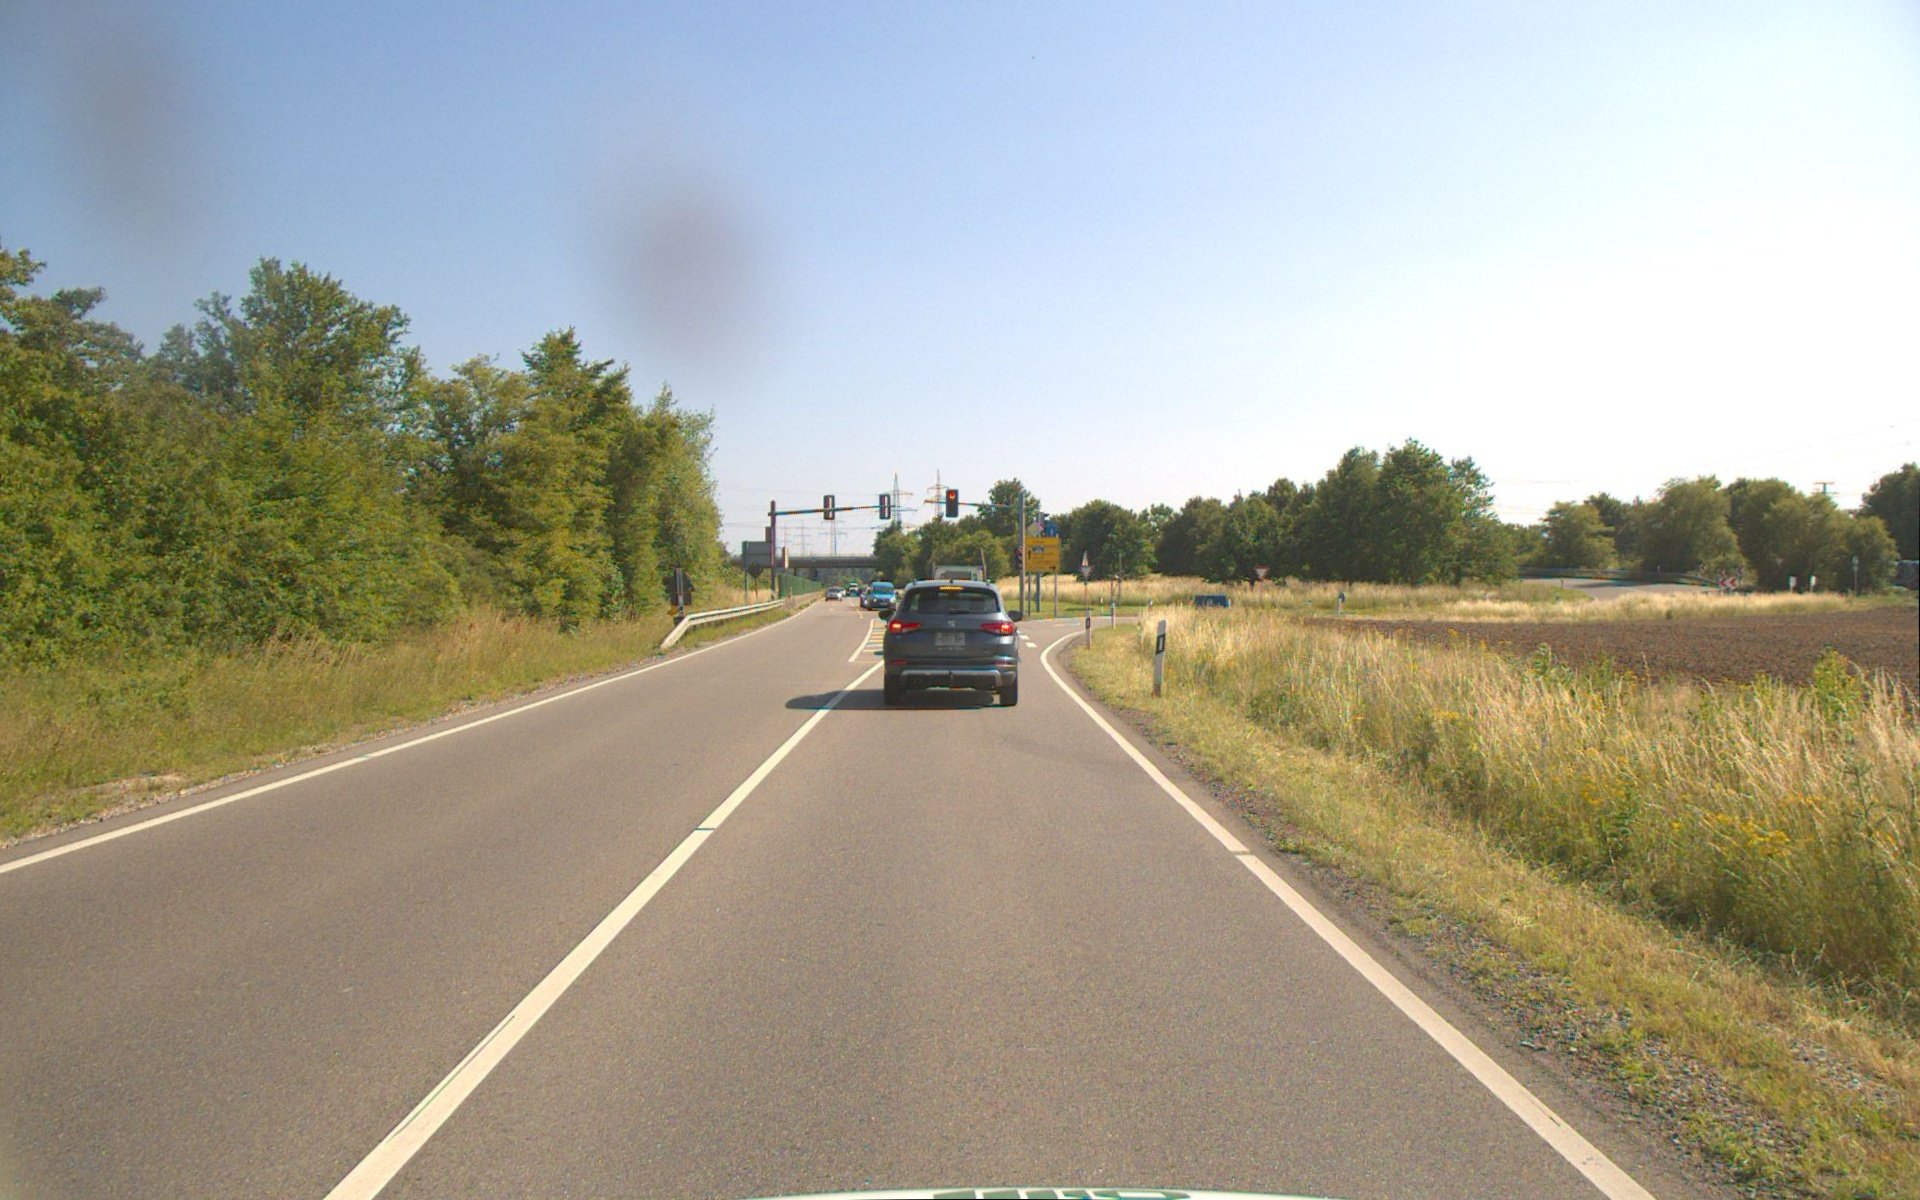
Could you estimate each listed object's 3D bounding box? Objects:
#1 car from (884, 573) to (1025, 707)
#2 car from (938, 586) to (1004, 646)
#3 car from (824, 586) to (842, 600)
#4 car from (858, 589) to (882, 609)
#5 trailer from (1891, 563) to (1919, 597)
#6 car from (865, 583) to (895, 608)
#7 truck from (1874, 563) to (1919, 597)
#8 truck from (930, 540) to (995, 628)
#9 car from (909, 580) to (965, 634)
[{"bbox_3d":[-0.116,0.471,22.591,1.749,1.657,3.999,0,1,-2],"label":"car"},{"bbox_3d":[0.270,0.417,46.726,1.749,1.570,3.999,0,1,-2],"label":"car"},{"bbox_3d":[-13.679,-0.761,178.198,1.789,1.456,3.996,0,1,-5],"label":"car"},{"bbox_3d":[-6.723,-0.079,123.123,1.651,1.404,3.530,0,1,-5],"label":"car"},{"bbox_3d":[93.089,-1.875,155.379,3.218,3.324,13.448,0,1,-2],"label":"trailer"},{"bbox_3d":[-5.154,-0.286,105.988,1.781,1.567,3.996,0,1,-5],"label":"car"},{"bbox_3d":[92.832,-1.982,161.778,3.218,3.324,6.426,0,1,-3],"label":"truck"},{"bbox_3d":[0.070,-0.581,62.030,2.290,3.119,5.809,0,0,0],"label":"truck"},{"bbox_3d":[-0.786,0.201,54.387,1.749,1.705,3.999,0,1,-2],"label":"car"}]
